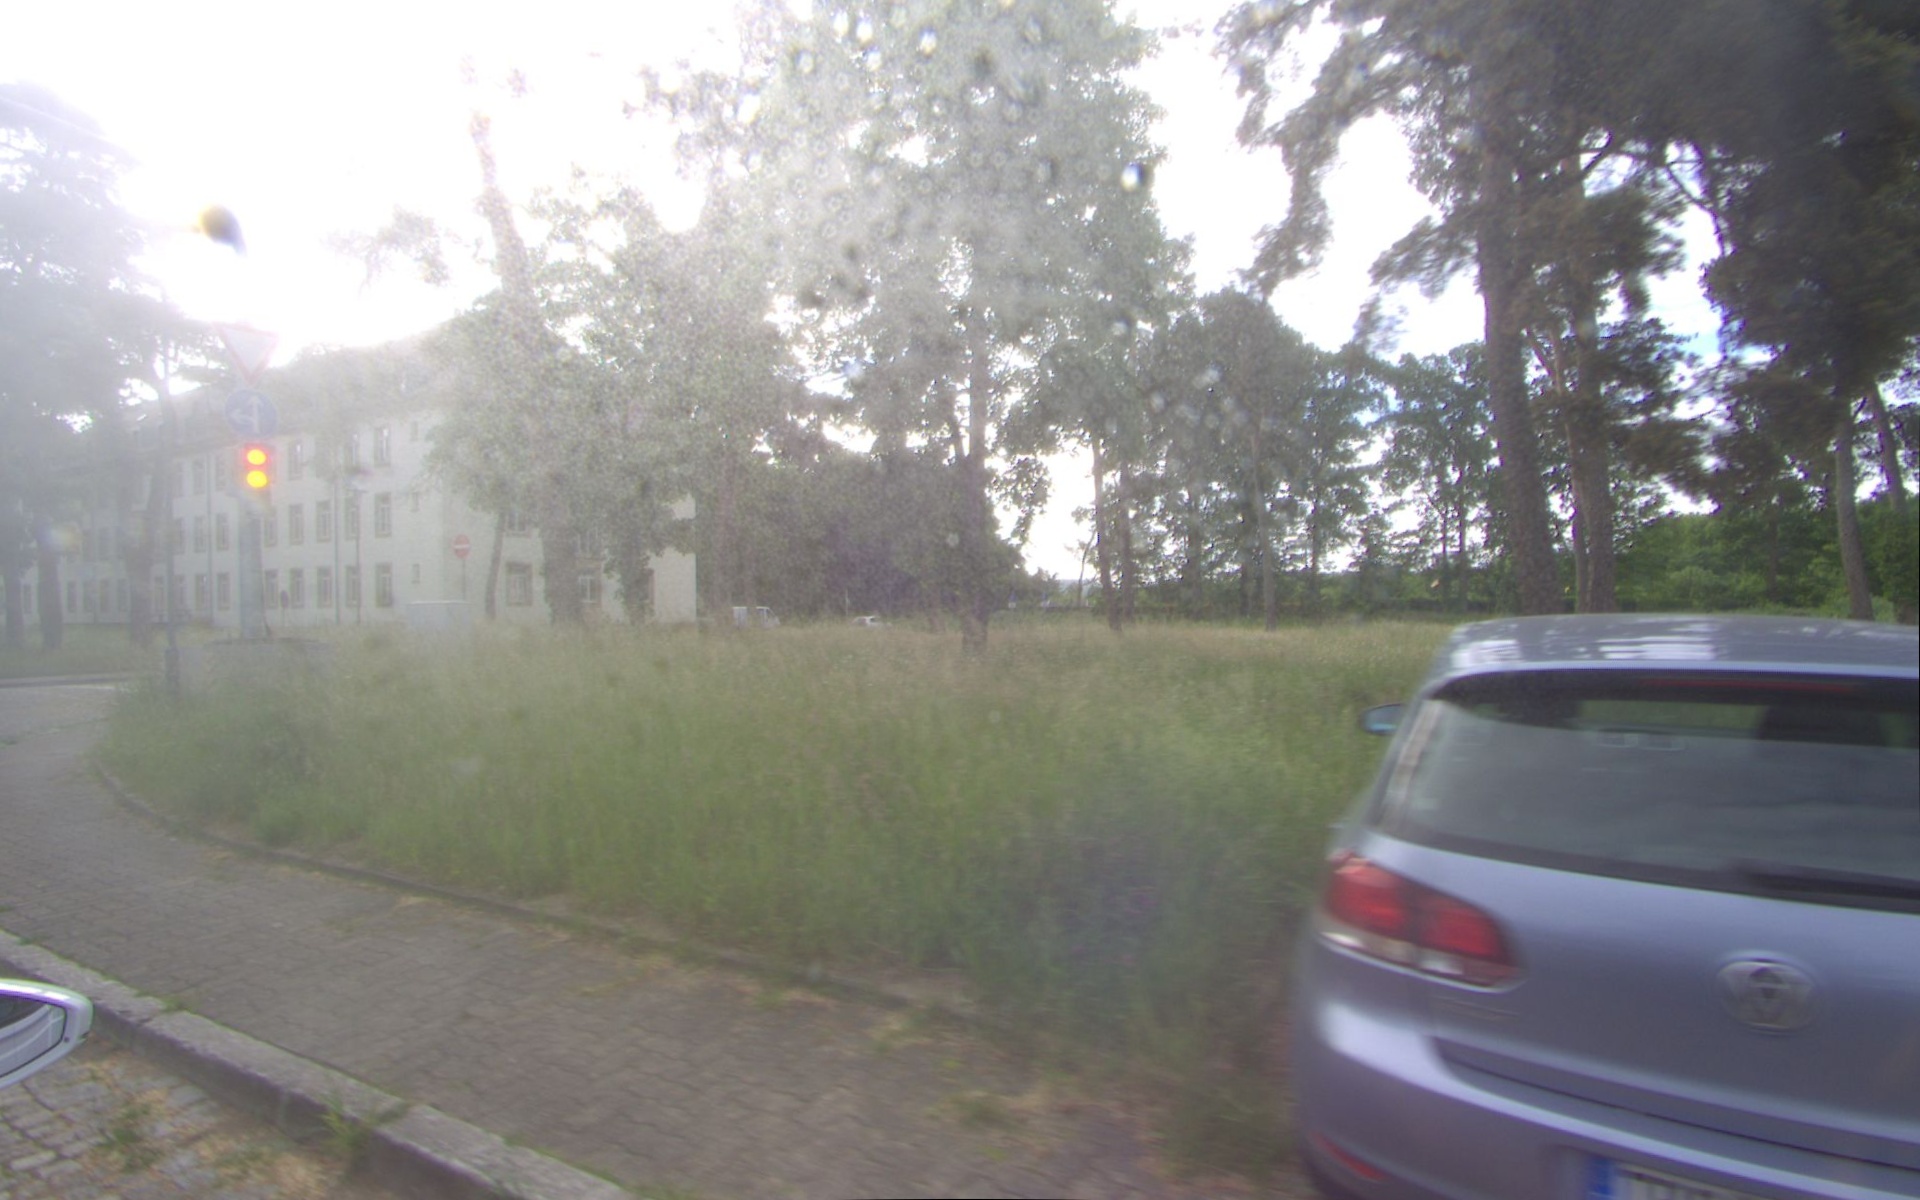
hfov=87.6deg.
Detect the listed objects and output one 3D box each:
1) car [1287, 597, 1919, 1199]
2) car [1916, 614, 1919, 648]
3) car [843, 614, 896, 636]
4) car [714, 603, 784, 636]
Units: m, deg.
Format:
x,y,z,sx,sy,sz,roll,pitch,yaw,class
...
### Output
x,y,z,sx,sy,sz,roll,pitch,yaw,class
2.297,0.726,3.244,1.582,1.446,3.756,0,1,31,car
42.434,1.291,41.205,4.199,1.434,1.877,-1,-1,34,car
-6.309,1.713,69.996,1.972,1.527,3.475,-1,-1,32,car
-15.731,1.447,74.967,2.182,2.318,5.170,0,-1,33,car
